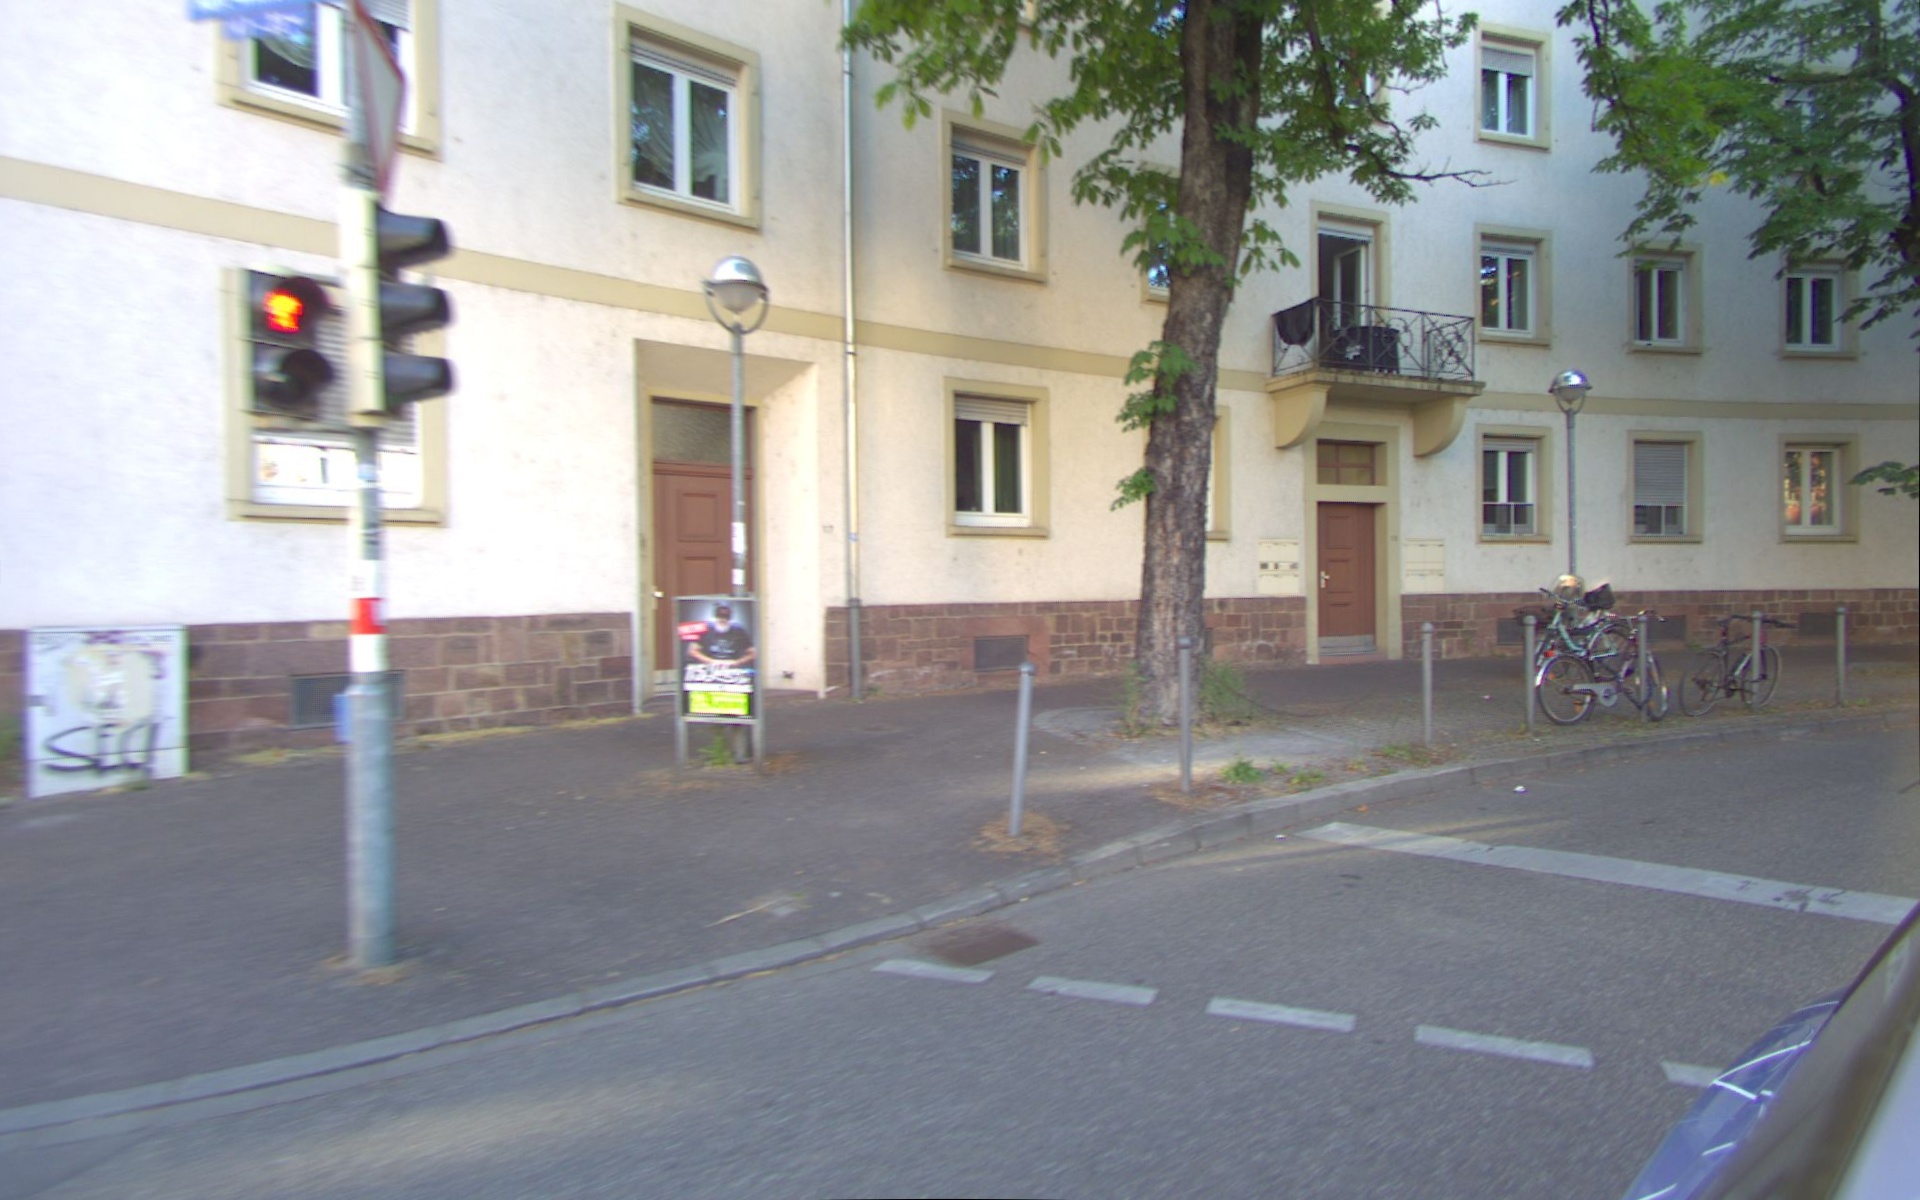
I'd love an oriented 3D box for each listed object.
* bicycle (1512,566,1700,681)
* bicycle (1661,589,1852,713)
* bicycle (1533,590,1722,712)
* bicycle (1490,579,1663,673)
[{"bbox_3d":[7.774,0.256,12.202,1.926,1.292,0.721,-1,3,-12],"label":"bicycle"},{"bbox_3d":[7.906,0.480,10.053,1.704,1.120,0.529,-1,4,-15],"label":"bicycle"},{"bbox_3d":[6.303,0.456,9.568,1.601,1.076,0.483,0,4,-13],"label":"bicycle"},{"bbox_3d":[7.858,0.308,12.911,1.926,1.121,0.671,-1,1,-11],"label":"bicycle"}]
